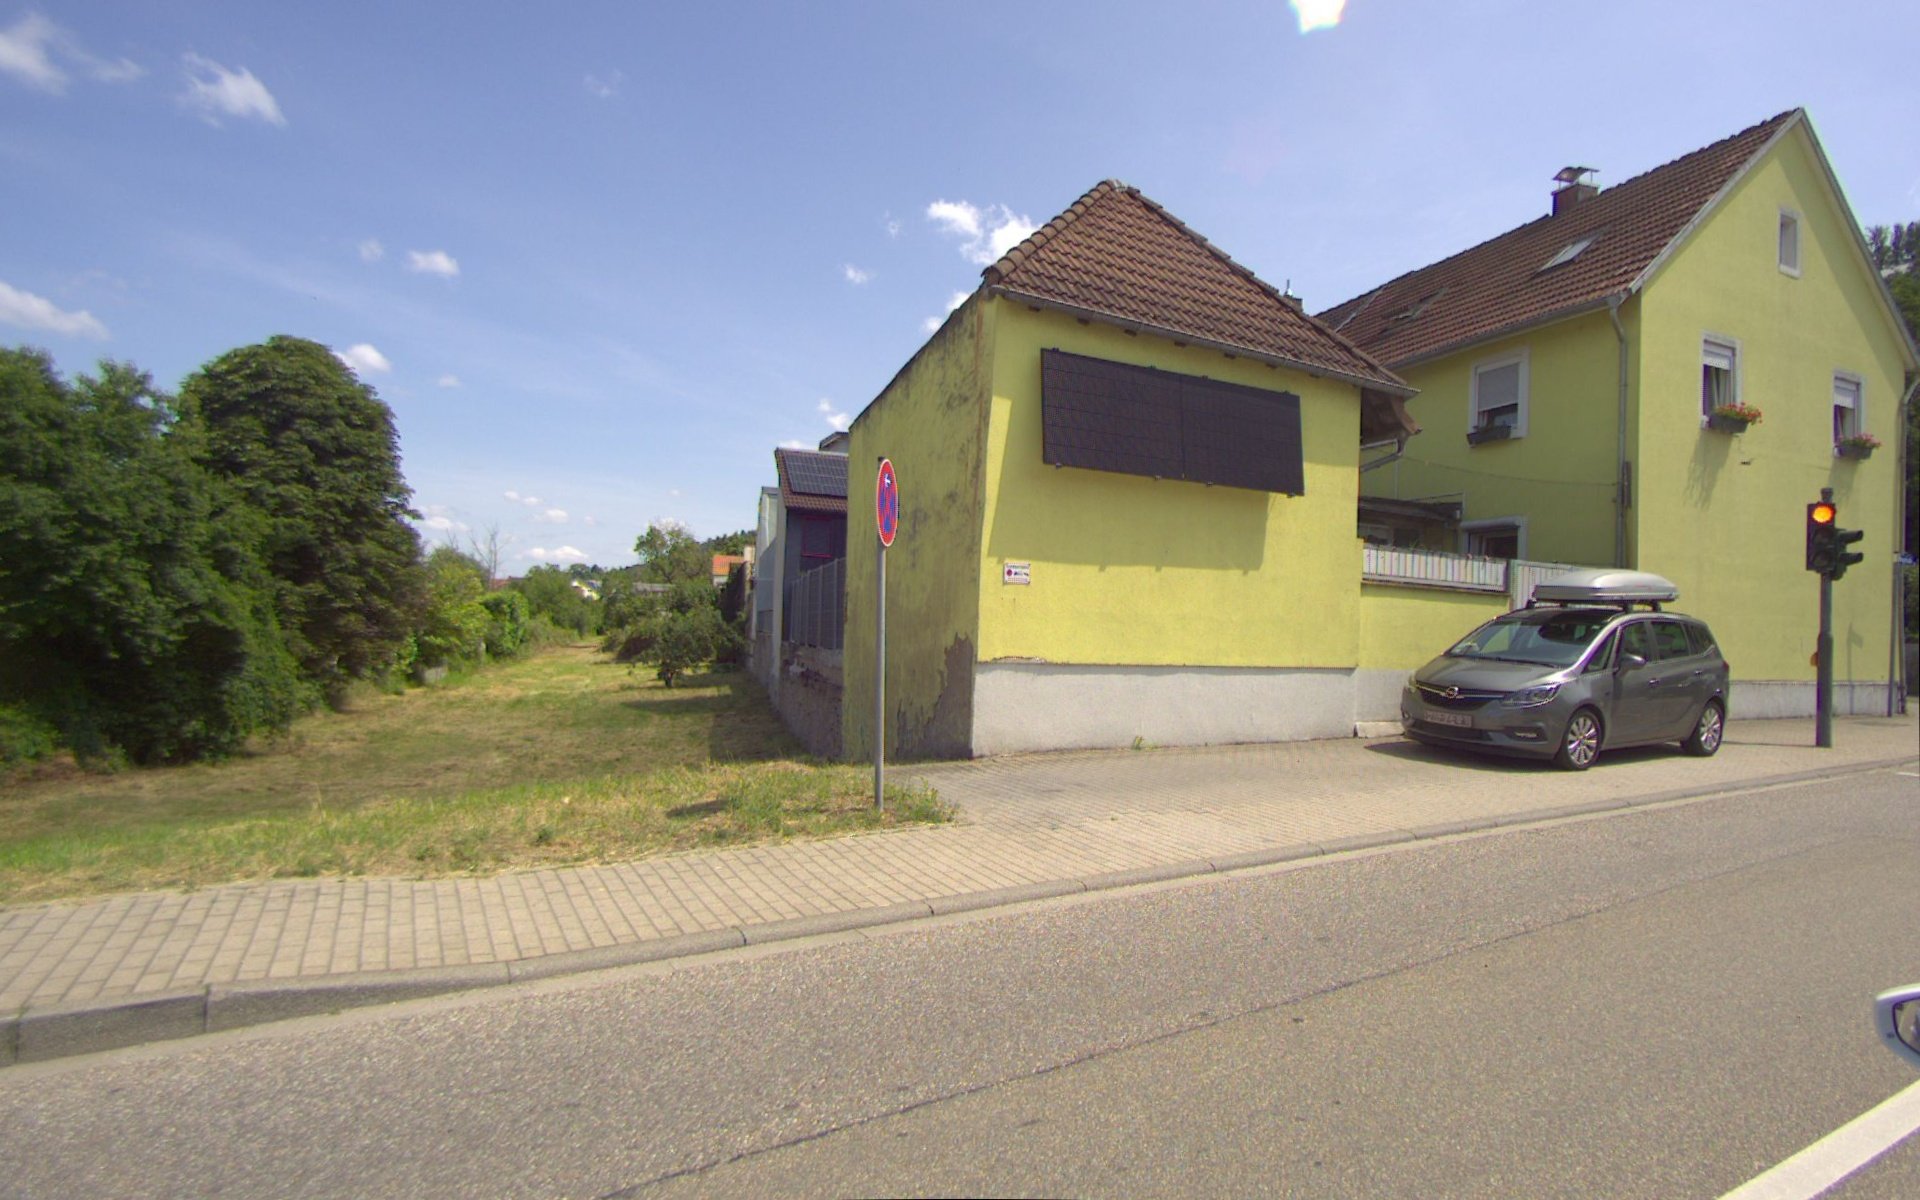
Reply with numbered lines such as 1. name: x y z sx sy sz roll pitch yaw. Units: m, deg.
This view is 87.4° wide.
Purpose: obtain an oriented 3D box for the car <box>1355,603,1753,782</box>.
1. car: 6.913 0.945 11.594 4.577 1.657 1.983 2 1 -31
